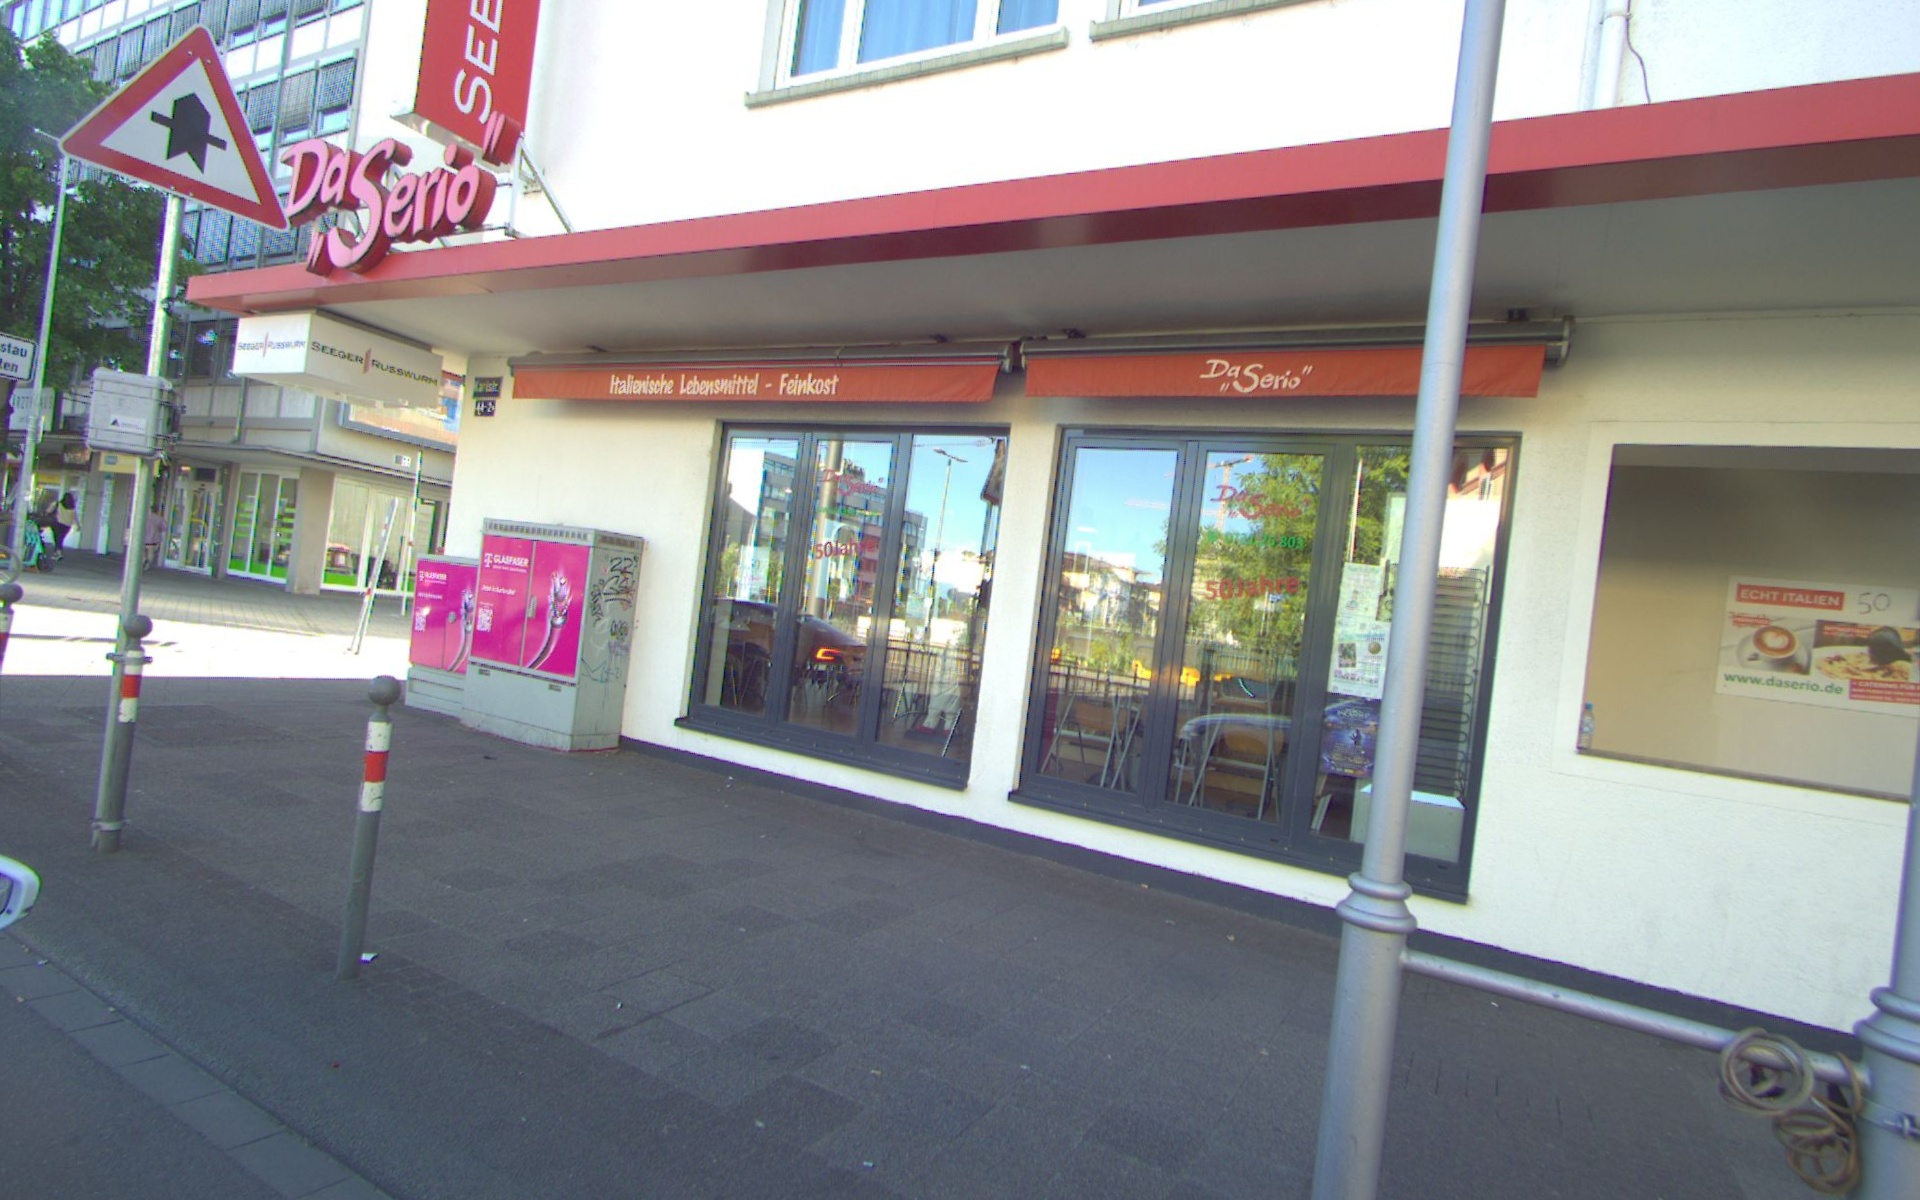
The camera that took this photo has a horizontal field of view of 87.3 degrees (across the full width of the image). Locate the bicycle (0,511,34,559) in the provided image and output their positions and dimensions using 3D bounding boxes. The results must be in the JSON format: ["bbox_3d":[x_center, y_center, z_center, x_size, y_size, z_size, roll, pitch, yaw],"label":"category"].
[{"bbox_3d":[-23.134,-1.611,23.728,0.392,1.069,1.856,7,0,21],"label":"bicycle"}]

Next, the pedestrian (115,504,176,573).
[{"bbox_3d":[-21.123,-1.587,26.084,0.865,1.621,0.844,6,-1,31],"label":"pedestrian"}]

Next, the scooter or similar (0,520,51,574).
[{"bbox_3d":[-19.843,-1.120,21.181,0.157,1.051,0.957,7,-1,34],"label":"scooter or similar"}]

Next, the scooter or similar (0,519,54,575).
[{"bbox_3d":[-19.681,-1.115,21.071,0.157,1.056,0.964,7,-1,34],"label":"scooter or similar"}]

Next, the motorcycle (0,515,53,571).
[{"bbox_3d":[-21.490,-1.342,22.390,0.495,1.142,1.791,7,-2,29],"label":"motorcycle"}]

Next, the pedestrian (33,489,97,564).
[{"bbox_3d":[-22.757,-1.859,25.588,0.865,1.727,0.844,6,-1,31],"label":"pedestrian"}]

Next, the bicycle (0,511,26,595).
[{"bbox_3d":[-15.041,-0.817,14.764,1.814,1.226,0.576,9,-2,-41],"label":"bicycle"}]

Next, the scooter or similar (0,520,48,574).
[{"bbox_3d":[-20.007,-1.128,21.292,0.157,1.039,0.964,7,-1,34],"label":"scooter or similar"}]
